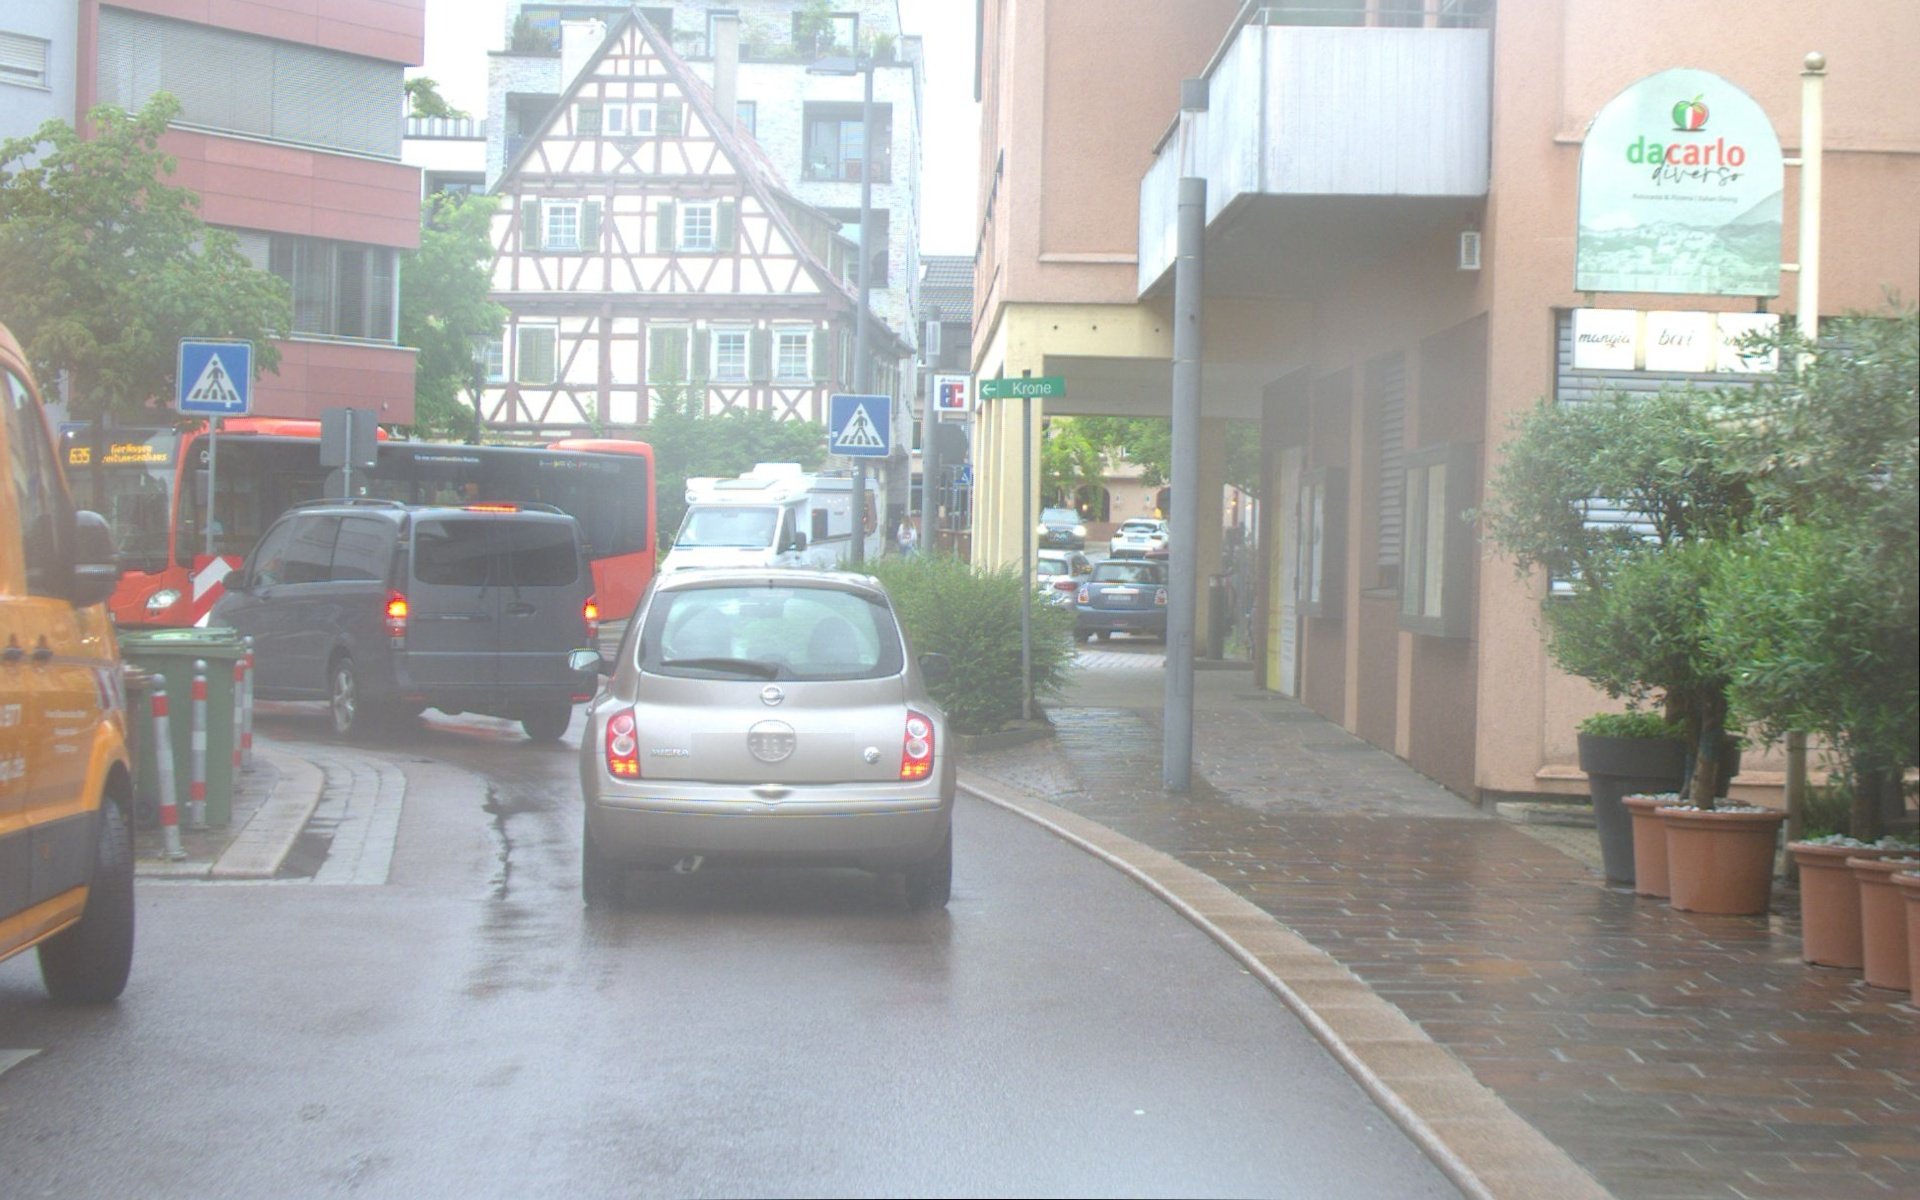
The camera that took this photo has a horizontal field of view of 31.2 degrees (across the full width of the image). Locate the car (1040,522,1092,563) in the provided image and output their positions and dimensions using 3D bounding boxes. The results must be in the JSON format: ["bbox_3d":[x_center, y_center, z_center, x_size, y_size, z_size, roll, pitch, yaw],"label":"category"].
[{"bbox_3d":[3.996,-2.168,129.706,1.896,1.503,3.909,1,1,1],"label":"car"}]

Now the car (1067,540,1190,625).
[{"bbox_3d":[2.878,-0.317,58.272,1.537,1.357,3.371,2,1,12],"label":"car"}]

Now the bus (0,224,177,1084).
[{"bbox_3d":[-4.737,0.208,10.335,2.812,3.078,10.609,1,1,-3],"label":"bus"}]

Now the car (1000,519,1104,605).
[{"bbox_3d":[1.761,-0.738,65.899,1.896,1.568,4.000,1,1,1],"label":"car"}]

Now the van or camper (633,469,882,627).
[{"bbox_3d":[-3.483,-0.904,60.929,2.439,2.577,6.747,2,1,14],"label":"van or camper"}]

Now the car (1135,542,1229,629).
[{"bbox_3d":[4.102,-0.282,63.085,1.624,1.495,4.000,-2,1,5],"label":"car"}]

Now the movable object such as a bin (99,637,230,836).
[{"bbox_3d":[-4.264,0.725,18.455,0.656,1.033,0.610,1,1,-12],"label":"movable object such as a bin"}]

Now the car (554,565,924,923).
[{"bbox_3d":[-1.130,0.601,16.285,1.522,1.466,3.342,1,1,-7],"label":"car"}]

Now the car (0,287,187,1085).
[{"bbox_3d":[-3.674,0.234,9.516,1.993,2.232,5.862,1,1,-3],"label":"car"}]

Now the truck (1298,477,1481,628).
[{"bbox_3d":[5.386,-0.597,43.568,1.762,1.802,4.000,1,1,0],"label":"truck"}]

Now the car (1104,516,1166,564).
[{"bbox_3d":[5.623,-1.913,110.784,1.896,1.503,3.909,1,1,1],"label":"car"}]

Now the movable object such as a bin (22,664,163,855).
[{"bbox_3d":[-4.395,0.801,17.438,0.581,0.924,0.481,2,0,-2],"label":"movable object such as a bin"}]

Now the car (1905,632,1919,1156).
[{"bbox_3d":[4.088,0.802,7.526,1.733,1.352,3.937,1,1,-25],"label":"car"}]

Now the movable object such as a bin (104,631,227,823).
[{"bbox_3d":[-4.434,0.701,19.212,0.656,1.033,0.610,0,1,-12],"label":"movable object such as a bin"}]

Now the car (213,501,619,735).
[{"bbox_3d":[-4.666,0.113,28.873,1.946,1.775,4.727,2,0,-27],"label":"car"}]
